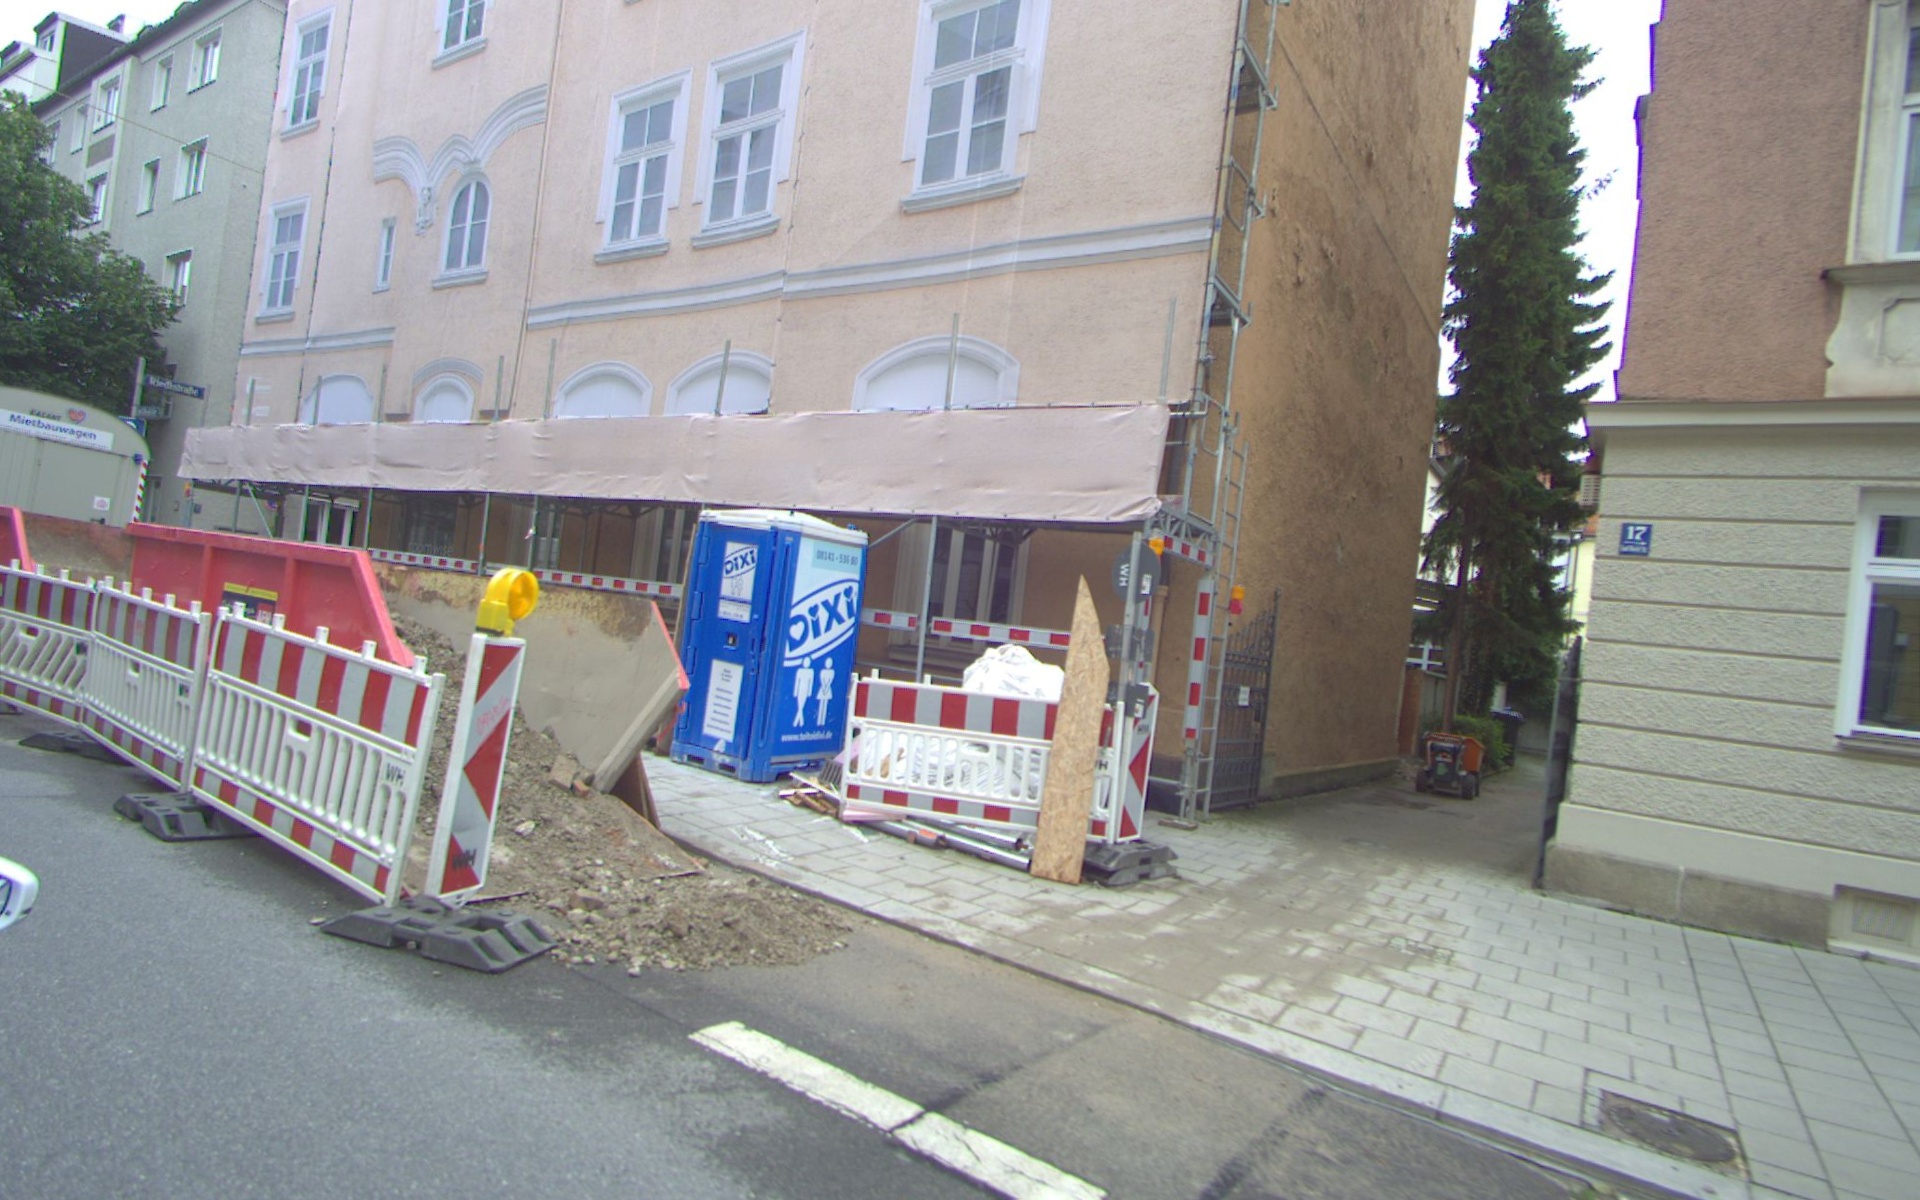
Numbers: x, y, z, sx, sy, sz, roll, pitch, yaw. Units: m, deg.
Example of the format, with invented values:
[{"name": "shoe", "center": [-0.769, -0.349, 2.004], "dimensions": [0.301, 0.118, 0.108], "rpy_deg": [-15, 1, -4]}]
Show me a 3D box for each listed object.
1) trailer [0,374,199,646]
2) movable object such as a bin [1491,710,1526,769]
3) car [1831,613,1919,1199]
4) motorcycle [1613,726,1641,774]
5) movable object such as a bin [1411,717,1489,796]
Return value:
[{"name": "trailer", "center": [-13.275, -1.274, 13.506], "dimensions": [6.791, 2.871, 2.507], "rpy_deg": [6, -3, 34]}, {"name": "movable object such as a bin", "center": [13.195, 3.347, 24.201], "dimensions": [0.545, 1.332, 0.466], "rpy_deg": [7, -1, 37]}, {"name": "car", "center": [4.554, 1.088, 1.154], "dimensions": [5.061, 1.941, 2.086], "rpy_deg": [3, -4, 35]}, {"name": "motorcycle", "center": [18.258, 4.100, 27.529], "dimensions": [0.429, 1.217, 1.827], "rpy_deg": [7, -2, 36]}, {"name": "movable object such as a bin", "center": [8.025, 2.532, 16.459], "dimensions": [0.819, 1.122, 1.245], "rpy_deg": [6, -1, 37]}]
